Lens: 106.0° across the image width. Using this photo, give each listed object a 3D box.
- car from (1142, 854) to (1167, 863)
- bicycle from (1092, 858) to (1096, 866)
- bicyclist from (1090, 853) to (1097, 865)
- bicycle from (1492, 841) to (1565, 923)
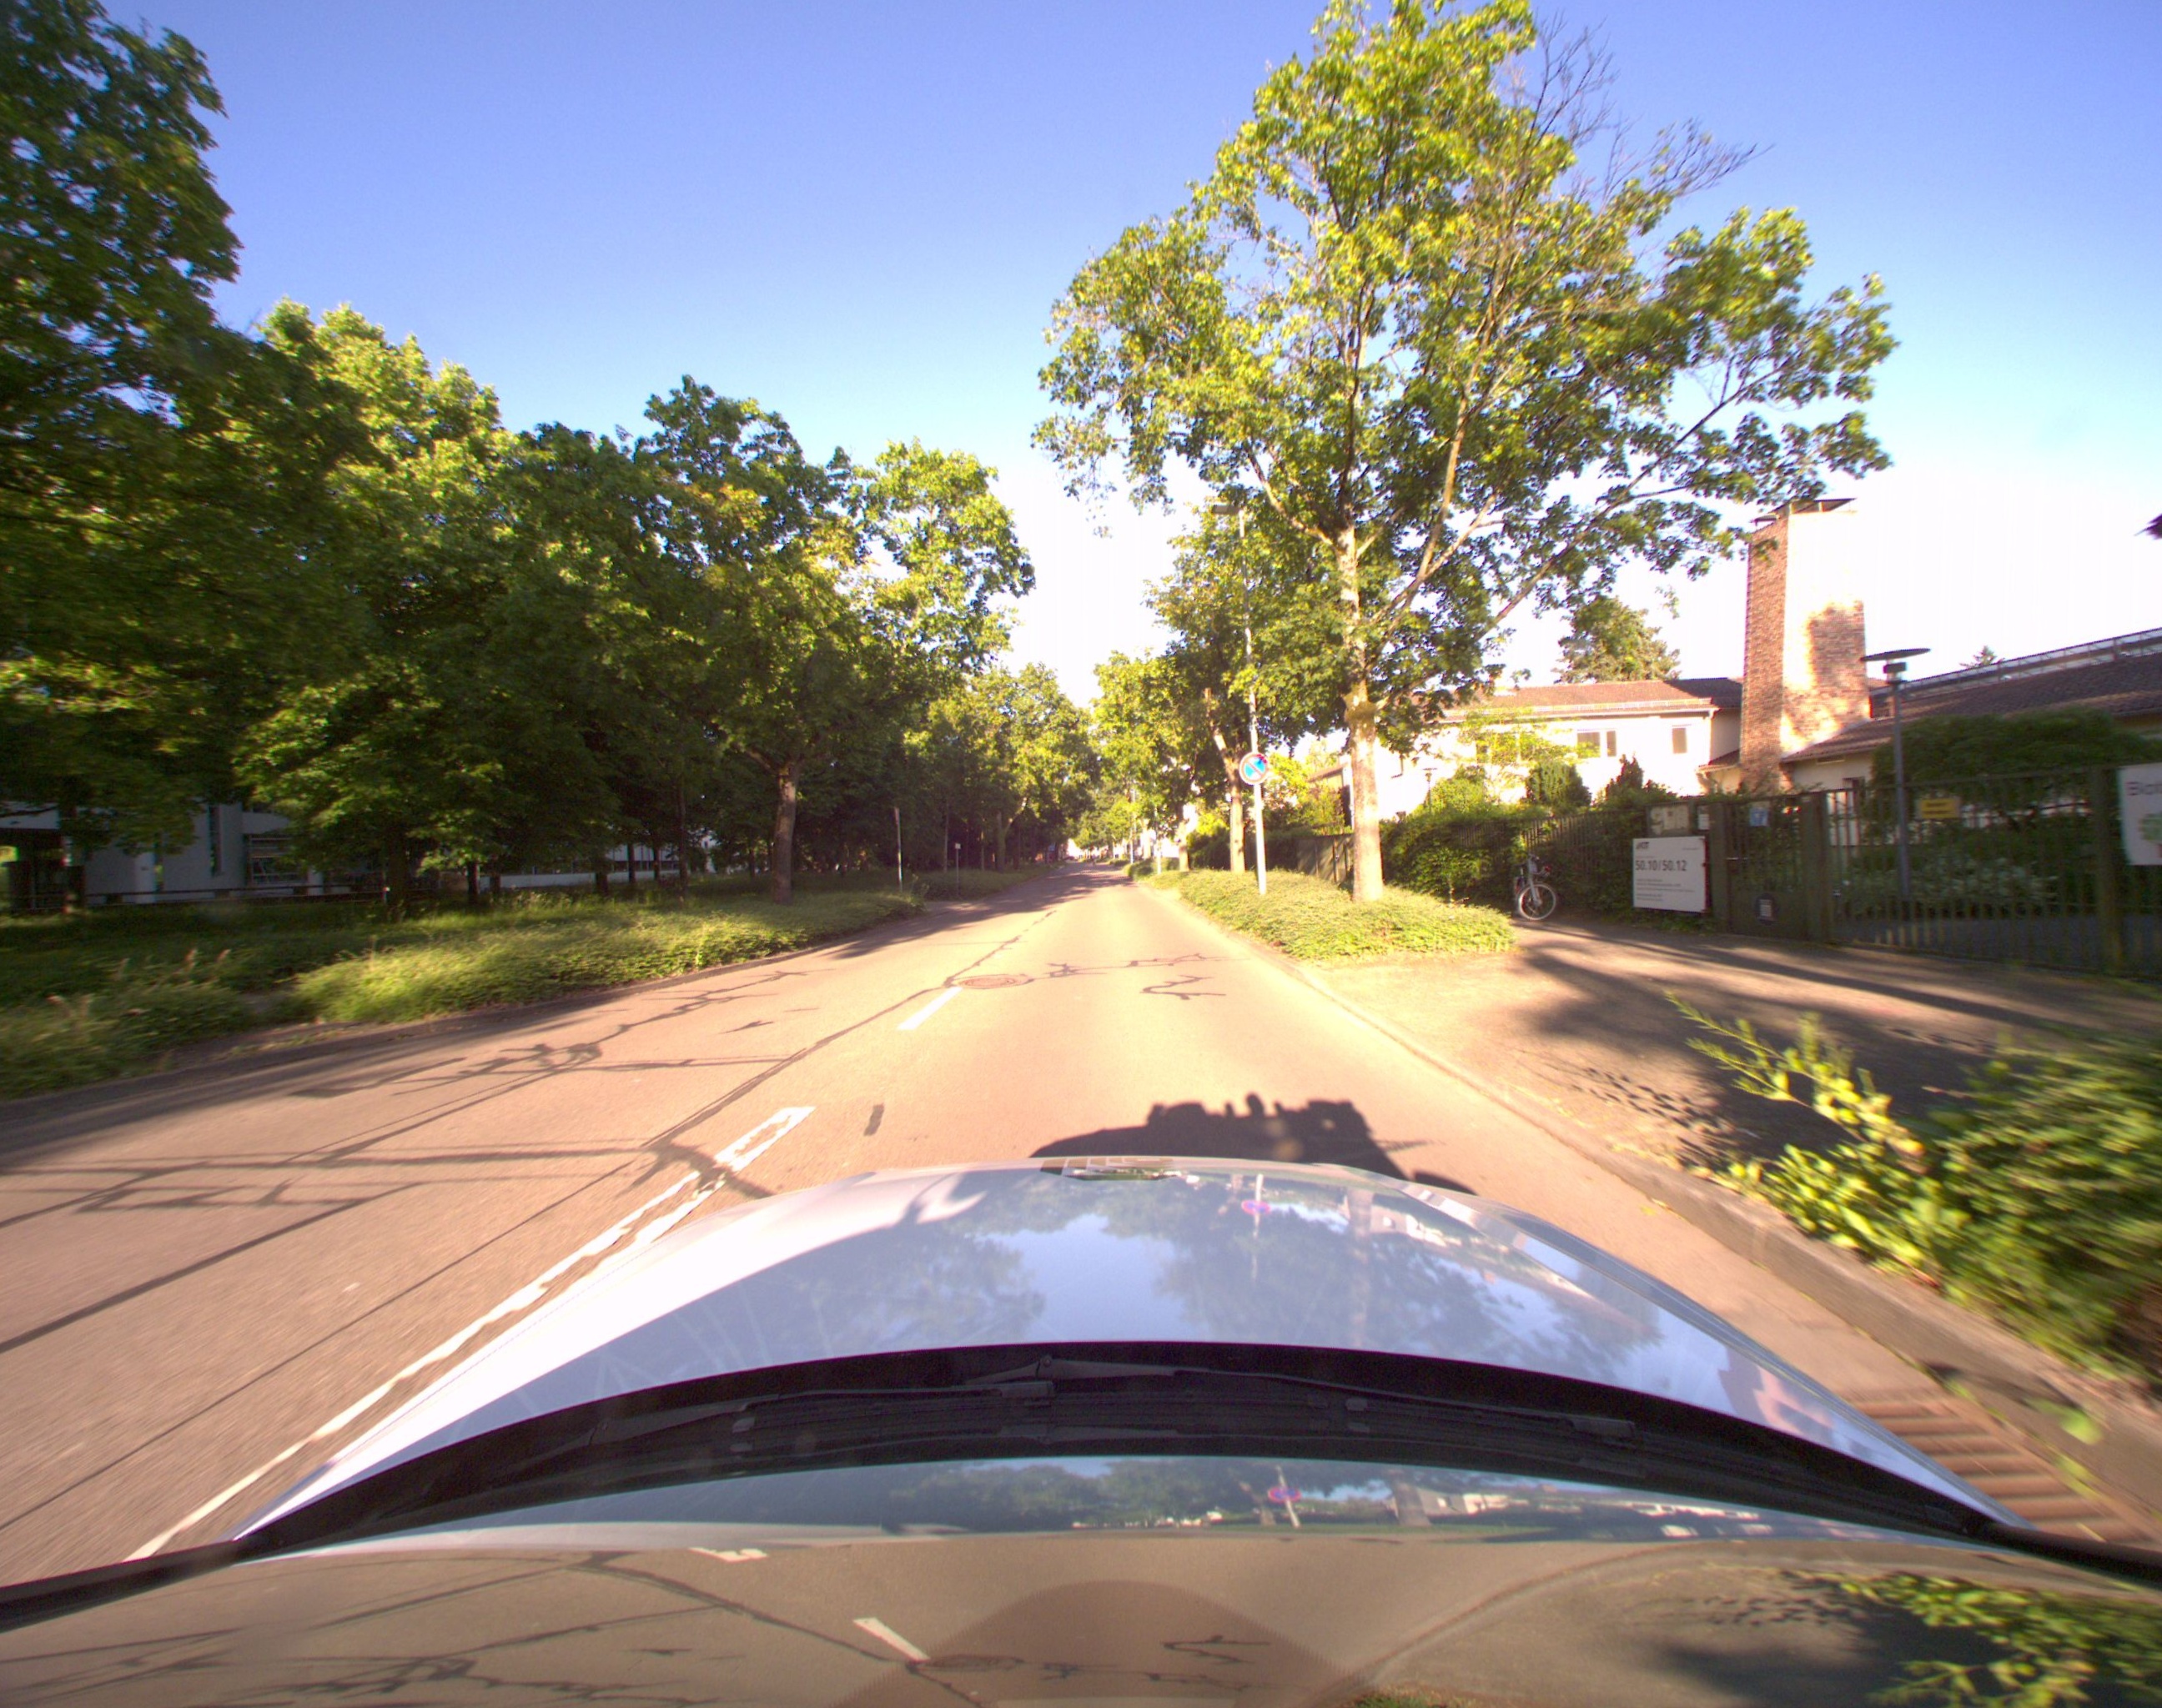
[{"bbox_3d":[12.887,0.800,143.306,4.327,1.353,2.148,1,3,6],"label":"car"},{"bbox_3d":[1.820,1.149,114.514,0.437,0.978,1.661,-2,1,1],"label":"bicycle"},{"bbox_3d":[1.776,0.743,114.560,0.864,1.641,1.115,-1,1,0],"label":"bicyclist"},{"bbox_3d":[7.571,0.436,13.889,0.875,1.200,2.340,-5,0,25],"label":"bicycle"}]
